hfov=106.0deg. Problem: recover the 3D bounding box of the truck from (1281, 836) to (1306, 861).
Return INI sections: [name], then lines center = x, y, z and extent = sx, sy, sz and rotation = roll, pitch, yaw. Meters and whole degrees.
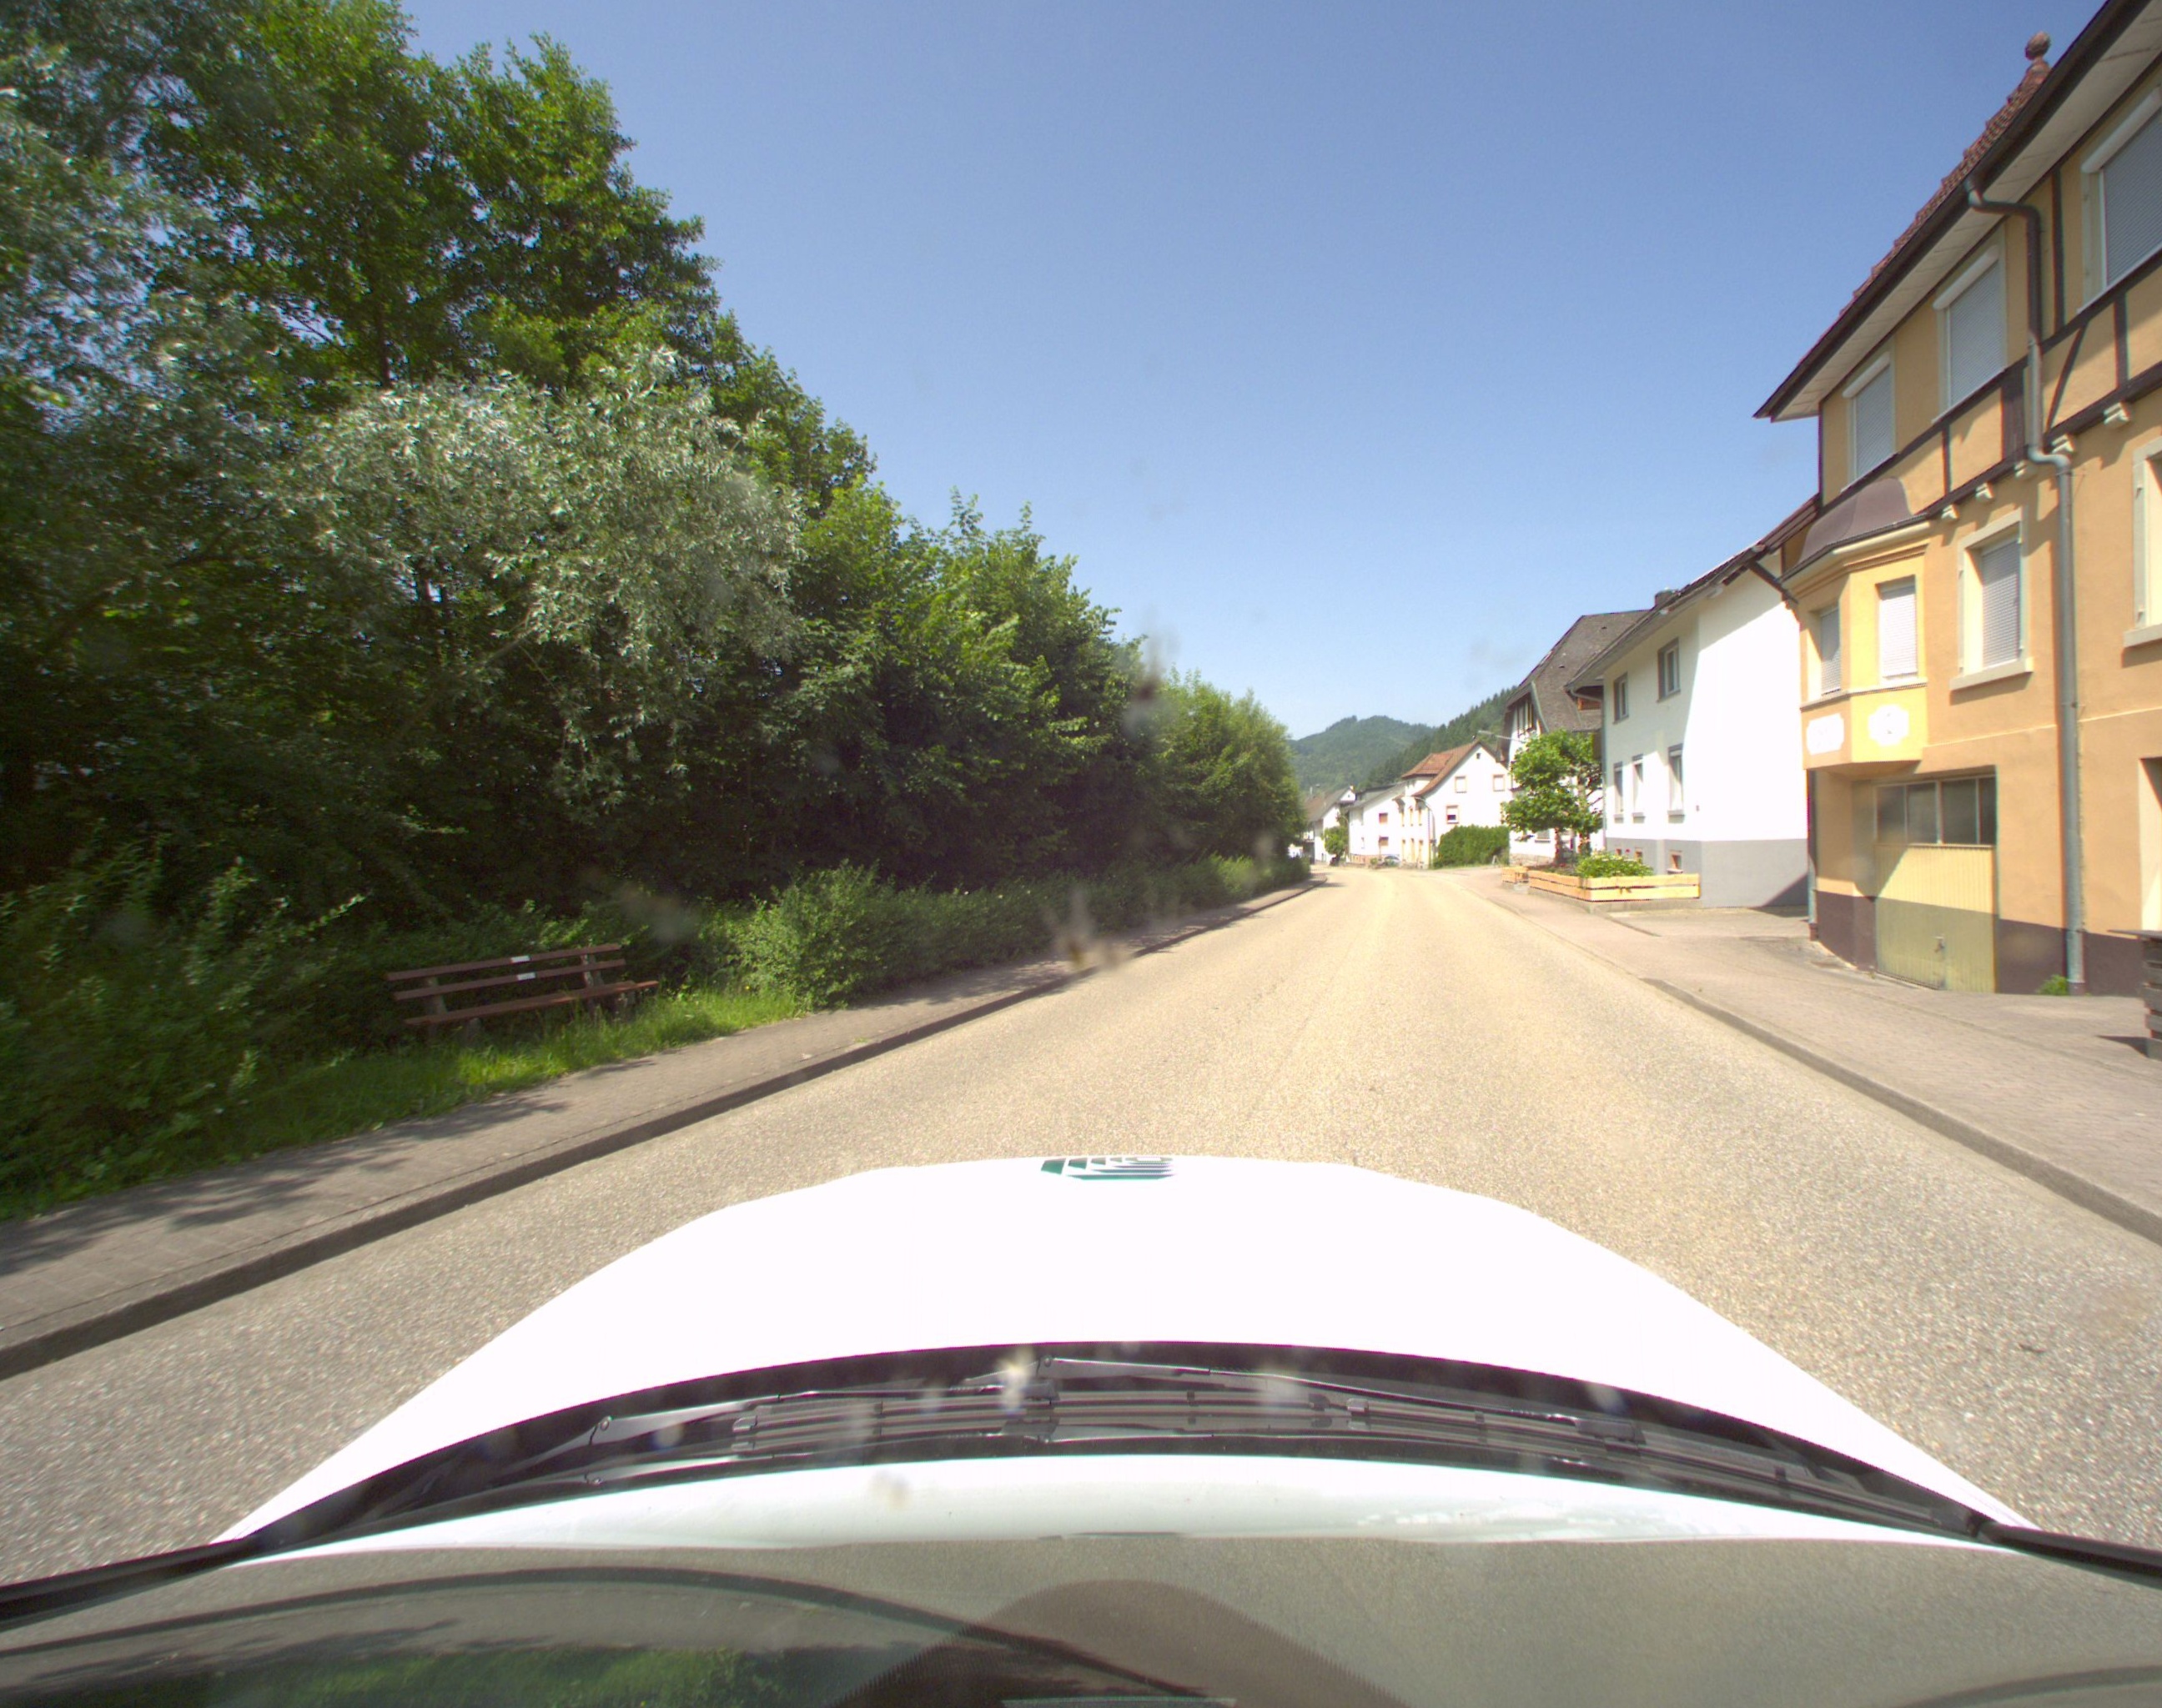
[truck]
center = 37.841, -0.932, 145.072
extent = 3.342, 3.782, 8.462
rotation = -6, -3, 10
